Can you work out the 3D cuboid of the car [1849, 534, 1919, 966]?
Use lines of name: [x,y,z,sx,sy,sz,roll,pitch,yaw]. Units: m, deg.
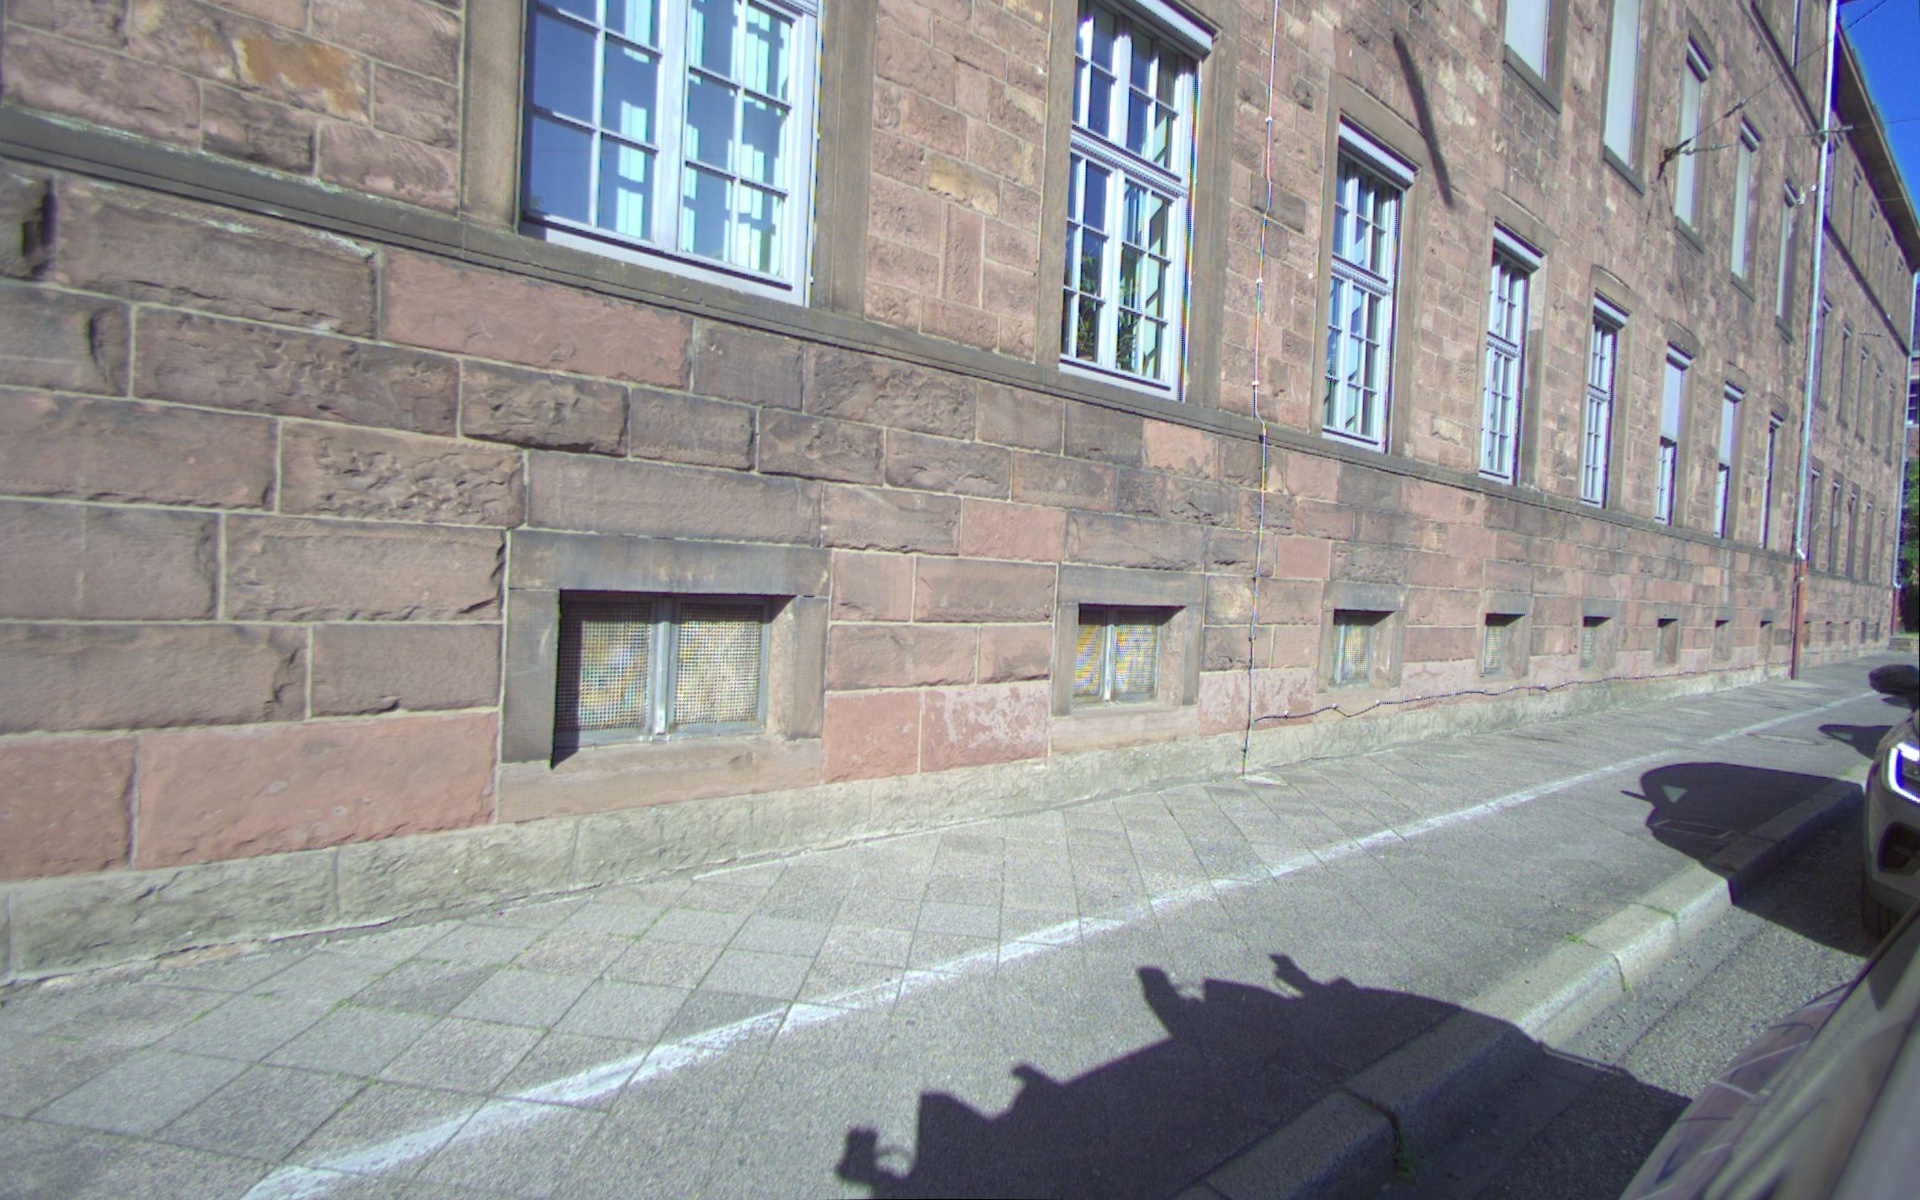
car: [5.451,0.602,4.564,3.735,1.624,1.793,1,1,-43]
